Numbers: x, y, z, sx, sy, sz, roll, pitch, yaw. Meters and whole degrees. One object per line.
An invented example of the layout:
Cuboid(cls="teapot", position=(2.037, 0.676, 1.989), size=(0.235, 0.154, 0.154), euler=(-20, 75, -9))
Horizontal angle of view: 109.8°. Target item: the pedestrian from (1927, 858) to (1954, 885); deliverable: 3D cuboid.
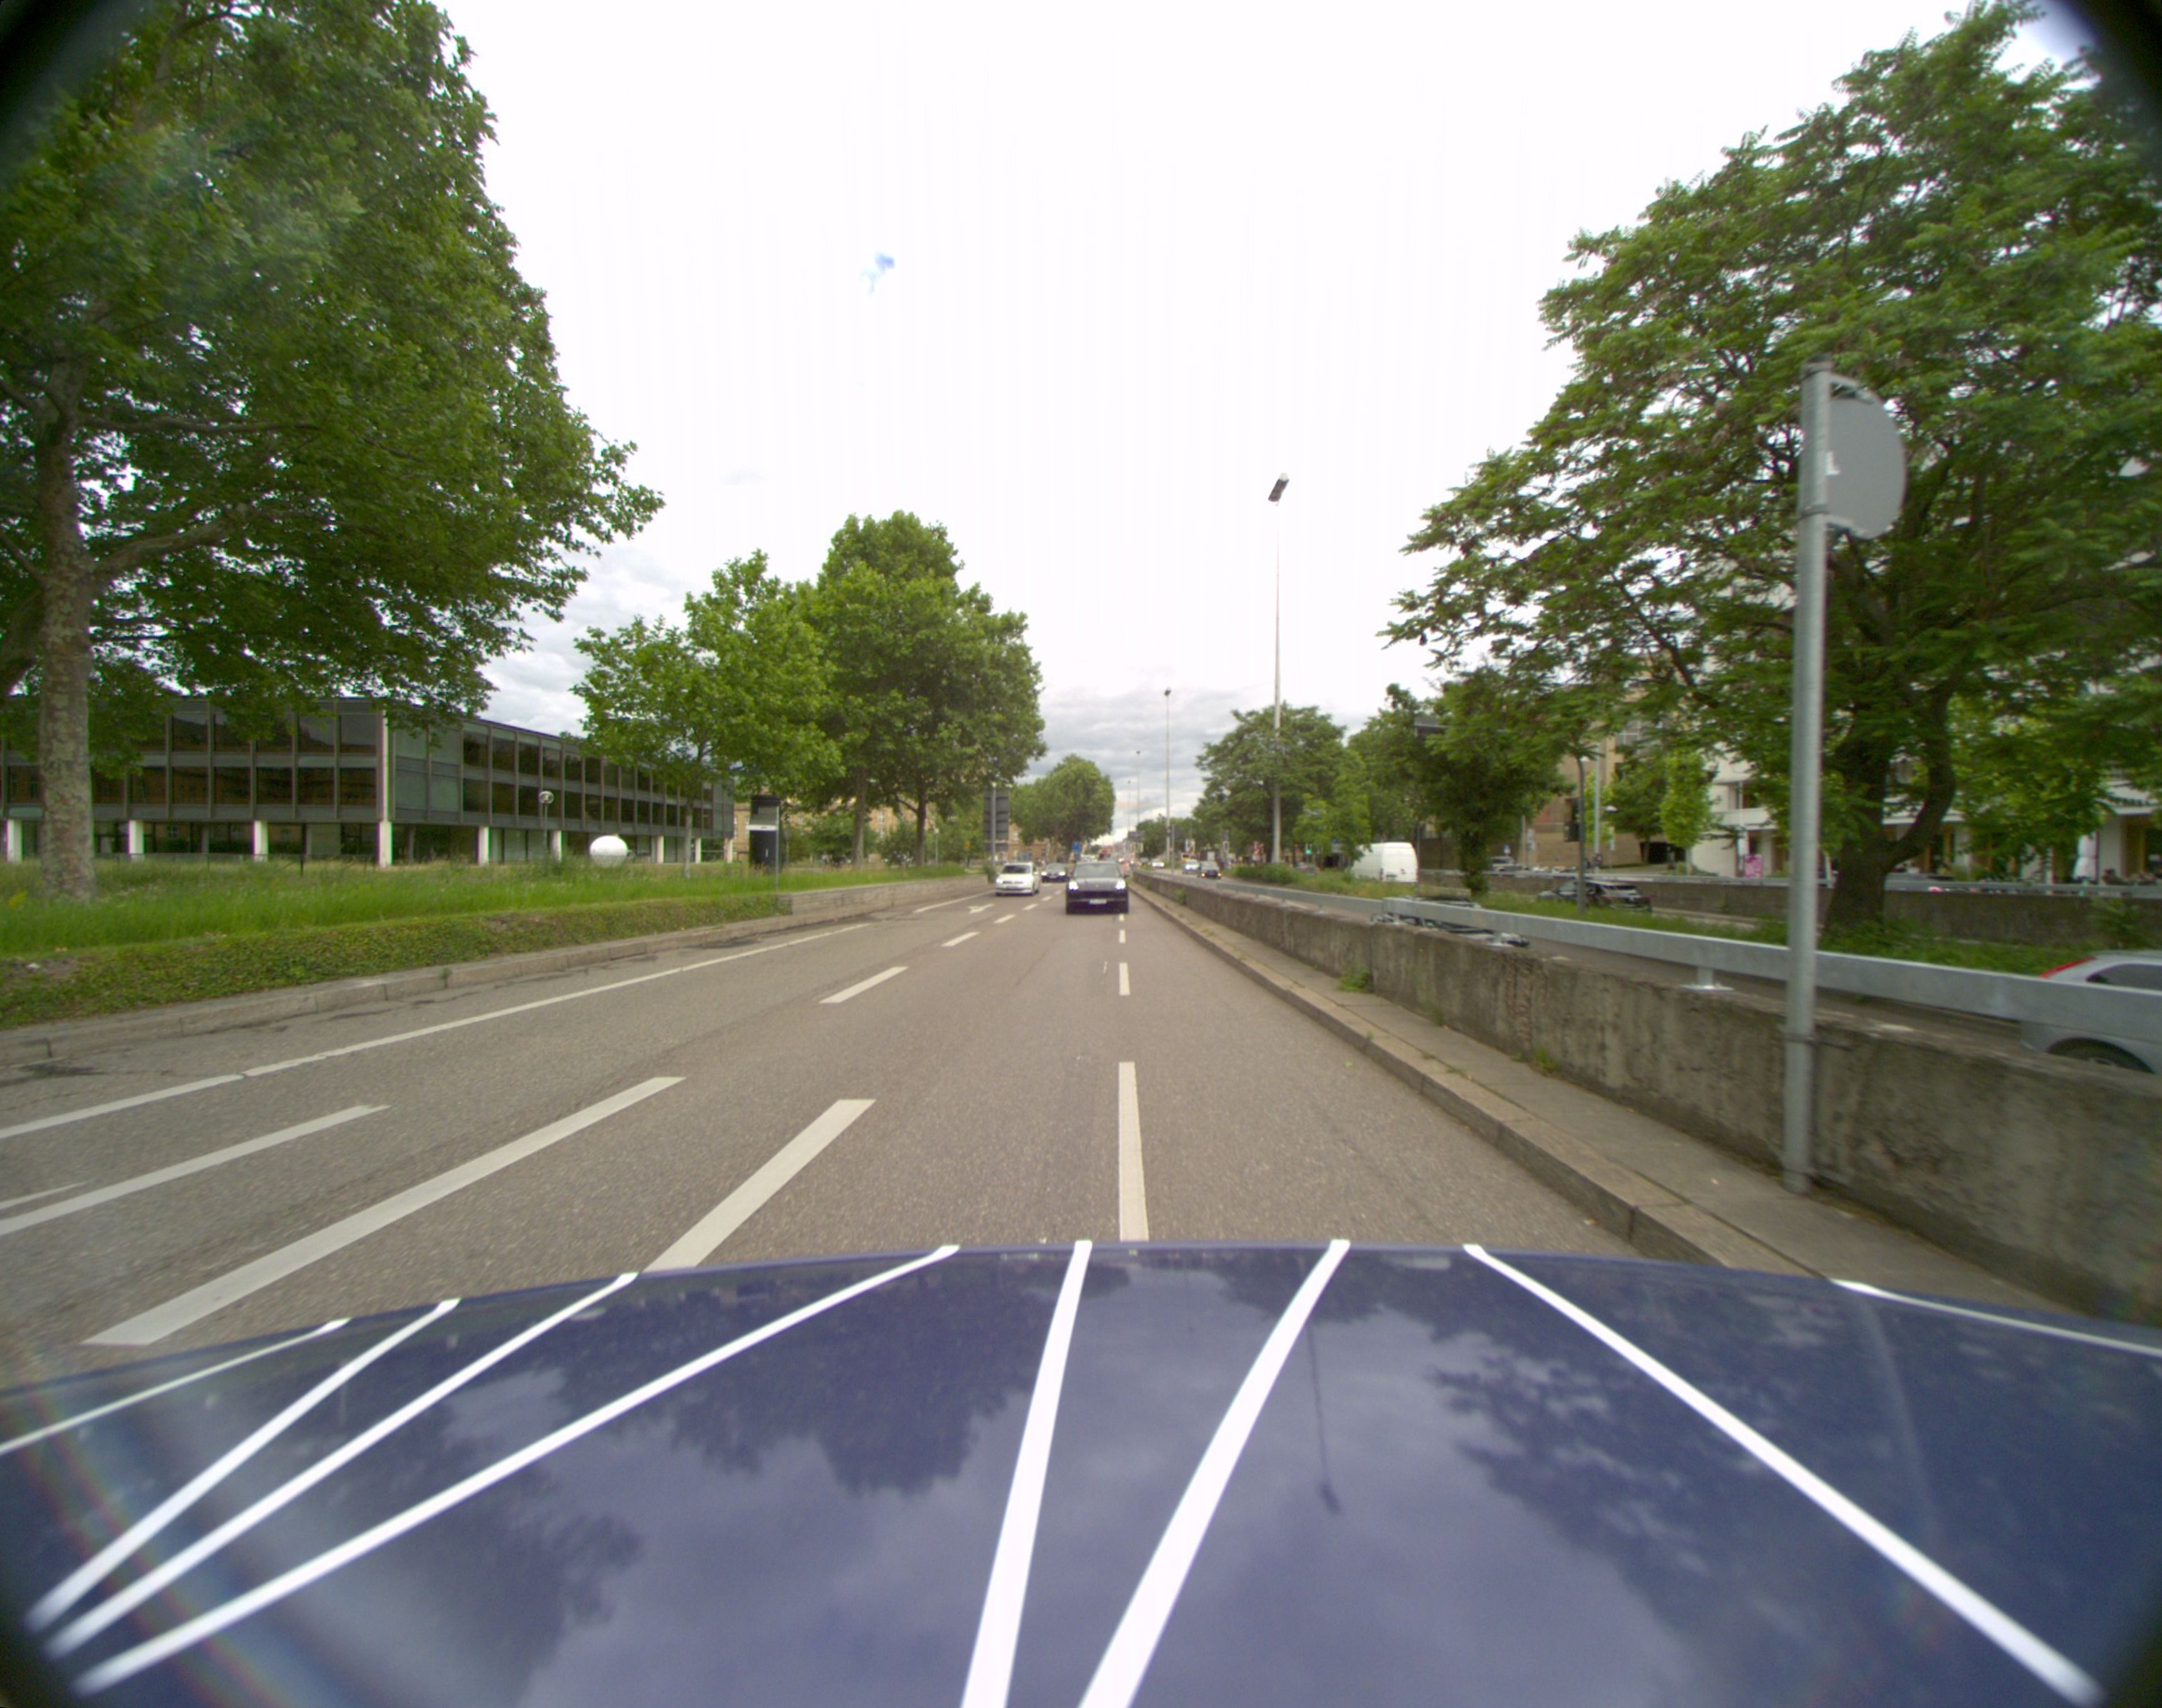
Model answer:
Cuboid(cls="pedestrian", position=(43.805, 0.881, 38.728), size=(0.649, 1.319, 0.636), euler=(4, -1, 27))

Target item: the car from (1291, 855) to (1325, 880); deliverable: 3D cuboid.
Cuboid(cls="car", position=(20.353, 1.193, 68.244), size=(1.998, 2.002, 4.001), euler=(-2, 1, 4))

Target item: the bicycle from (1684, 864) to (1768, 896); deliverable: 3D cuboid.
Cuboid(cls="bicycle", position=(35.728, 1.438, 42.144), size=(3.622, 1.674, 1.183), euler=(1, 0, 0))

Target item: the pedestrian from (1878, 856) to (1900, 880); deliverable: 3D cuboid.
Cuboid(cls="pedestrian", position=(44.232, 0.771, 41.603), size=(0.520, 1.320, 0.565), euler=(1, 2, 2))

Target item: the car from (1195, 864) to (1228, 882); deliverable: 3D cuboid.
Cuboid(cls="car", position=(11.017, 1.587, 64.276), size=(1.998, 1.474, 4.809), euler=(0, 0, 0))

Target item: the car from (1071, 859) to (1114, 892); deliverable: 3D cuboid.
Cuboid(cls="car", position=(0.551, 1.119, 41.559), size=(2.062, 1.616, 4.600), euler=(-2, 0, -2))

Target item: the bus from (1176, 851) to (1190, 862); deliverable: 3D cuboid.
Cuboid(cls="bus", position=(30.198, 0.643, 225.059), size=(2.919, 3.285, 10.449), euler=(0, 0, 1))

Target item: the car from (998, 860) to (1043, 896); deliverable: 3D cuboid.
Cuboid(cls="car", position=(-2.934, 1.148, 37.772), size=(1.695, 1.585, 4.000), euler=(-1, 1, 3))

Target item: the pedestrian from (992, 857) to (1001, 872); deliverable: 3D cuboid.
Cuboid(cls="pedestrian", position=(-8.977, 1.080, 80.680), size=(0.803, 1.616, 0.626), euler=(0, 0, 9))

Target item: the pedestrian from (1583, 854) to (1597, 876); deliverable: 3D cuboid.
Cuboid(cls="pedestrian", position=(36.320, 0.797, 54.241), size=(0.884, 1.548, 0.596), euler=(0, 1, -41))

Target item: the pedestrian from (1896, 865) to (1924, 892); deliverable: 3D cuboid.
Cuboid(cls="pedestrian", position=(42.508, 1.245, 38.970), size=(0.788, 1.319, 0.671), euler=(0, 0, 28))

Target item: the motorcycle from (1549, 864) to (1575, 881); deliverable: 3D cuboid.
Cuboid(cls="motorcycle", position=(35.059, 1.356, 55.382), size=(1.892, 1.227, 0.657), euler=(0, 3, -23))

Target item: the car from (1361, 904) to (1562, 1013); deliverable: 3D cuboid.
Cuboid(cls="car", position=(7.294, 1.929, 15.109), size=(1.767, 1.507, 4.151), euler=(-1, 1, -2))

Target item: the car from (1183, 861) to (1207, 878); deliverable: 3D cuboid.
Cuboid(cls="car", position=(11.958, 1.605, 80.033), size=(1.998, 1.636, 4.000), euler=(-1, 0, 1))

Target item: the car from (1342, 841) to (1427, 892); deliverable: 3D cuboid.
Cuboid(cls="car", position=(17.021, 0.598, 43.061), size=(2.330, 2.510, 6.056), euler=(-2, 2, 0))

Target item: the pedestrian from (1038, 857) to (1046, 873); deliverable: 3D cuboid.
Cuboid(cls="pedestrian", position=(-4.033, 1.152, 79.028), size=(0.699, 1.646, 0.684), euler=(-2, 1, 1))

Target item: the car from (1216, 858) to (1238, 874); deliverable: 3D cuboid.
Cuboid(cls="car", position=(17.866, 1.479, 92.952), size=(1.861, 1.708, 4.443), euler=(0, 3, 1))

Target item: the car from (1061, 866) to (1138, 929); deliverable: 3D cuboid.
Cuboid(cls="car", position=(0.480, 1.265, 23.922), size=(2.062, 1.616, 4.600), euler=(-3, 0, -2))

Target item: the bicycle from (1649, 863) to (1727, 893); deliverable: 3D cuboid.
Cuboid(cls="bicycle", position=(35.466, 1.398, 44.437), size=(3.622, 1.674, 1.183), euler=(1, 0, 0))

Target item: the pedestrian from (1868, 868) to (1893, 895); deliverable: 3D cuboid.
Cuboid(cls="pedestrian", position=(42.095, 1.458, 40.005), size=(0.649, 1.319, 0.636), euler=(5, 0, 29))

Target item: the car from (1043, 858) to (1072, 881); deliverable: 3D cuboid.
Cuboid(cls="car", position=(-1.837, 1.167, 58.603), size=(2.062, 1.616, 4.600), euler=(-2, 0, -2))

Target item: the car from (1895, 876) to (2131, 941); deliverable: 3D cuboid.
Cuboid(cls="car", position=(28.550, 1.595, 23.553), size=(1.862, 1.707, 4.391), euler=(1, 0, 0))

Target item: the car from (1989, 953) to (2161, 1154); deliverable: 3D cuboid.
Cuboid(cls="car", position=(10.594, 1.874, 5.675), size=(1.998, 1.607, 4.738), euler=(0, 1, 1))

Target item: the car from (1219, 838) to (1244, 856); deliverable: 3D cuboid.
Cuboid(cls="car", position=(15.093, -0.692, 76.487), size=(1.861, 1.707, 4.446), euler=(1, 0, 3))

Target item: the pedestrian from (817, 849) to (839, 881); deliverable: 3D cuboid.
Cuboid(cls="pedestrian", position=(-15.083, 0.667, 45.286), size=(1.031, 1.826, 0.997), euler=(-3, 1, -30))

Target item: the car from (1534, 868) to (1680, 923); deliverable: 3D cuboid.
Cuboid(cls="car", position=(17.174, 1.298, 25.080), size=(1.906, 1.478, 3.999), euler=(-2, 1, -2))

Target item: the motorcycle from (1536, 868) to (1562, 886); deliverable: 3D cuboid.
Cuboid(cls="motorcycle", position=(34.900, 1.710, 56.641), size=(1.892, 1.227, 0.657), euler=(0, 3, -23))
